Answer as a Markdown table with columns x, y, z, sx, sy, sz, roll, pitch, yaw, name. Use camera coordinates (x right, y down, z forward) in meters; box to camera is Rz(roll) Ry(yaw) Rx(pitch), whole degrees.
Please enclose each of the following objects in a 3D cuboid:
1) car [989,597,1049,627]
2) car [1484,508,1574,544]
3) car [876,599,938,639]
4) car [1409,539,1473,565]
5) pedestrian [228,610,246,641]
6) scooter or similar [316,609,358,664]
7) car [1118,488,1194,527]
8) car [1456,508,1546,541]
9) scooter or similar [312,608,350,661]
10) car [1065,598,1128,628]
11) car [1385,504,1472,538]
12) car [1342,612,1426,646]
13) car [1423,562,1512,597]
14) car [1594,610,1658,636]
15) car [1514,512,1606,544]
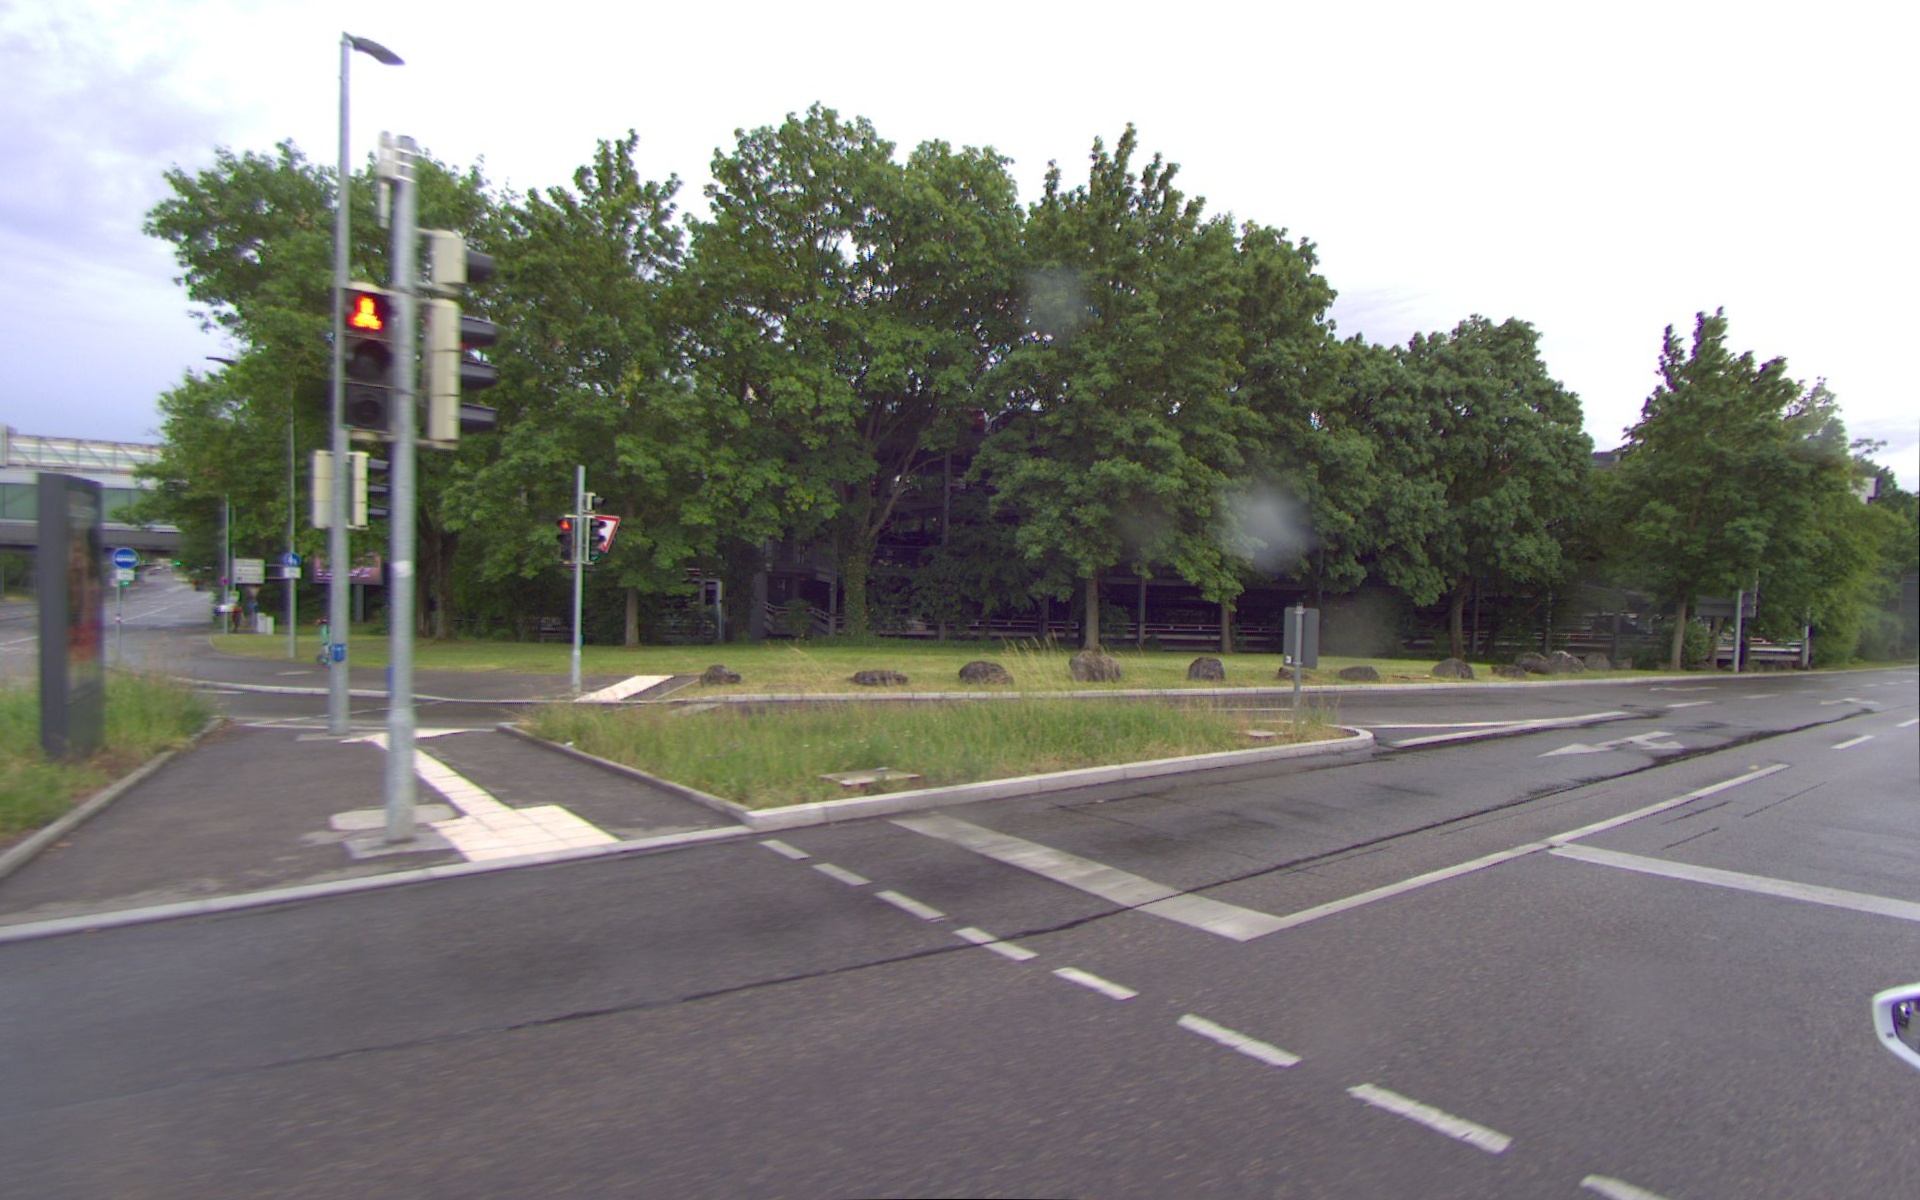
| x | y | z | sx | sy | sz | roll | pitch | yaw | name |
| --- | --- | --- | --- | --- | --- | --- | --- | --- | --- |
| 3.289 | 0.640 | 56.361 | 1.969 | 1.539 | 3.983 | 2 | 0 | -19 | car |
| 30.098 | -3.892 | 53.227 | 1.965 | 1.539 | 3.990 | 2 | 0 | -12 | car |
| -2.318 | 0.772 | 43.095 | 1.966 | 1.539 | 3.990 | 2 | 0 | -13 | car |
| 34.201 | -3.388 | 71.474 | 1.967 | 1.539 | 3.988 | 2 | 0 | -15 | car |
| -38.961 | 1.393 | 54.121 | 0.736 | 1.651 | 0.706 | 1 | -1 | -36 | pedestrian |
| -14.832 | 0.860 | 23.904 | 1.338 | 1.276 | 0.546 | 0 | -1 | 44 | scooter or similar |
| 8.948 | -4.220 | 46.206 | 1.965 | 1.539 | 3.989 | 2 | 3 | -12 | car |
| 28.167 | -3.927 | 52.431 | 1.965 | 1.539 | 3.989 | 2 | 3 | -12 | car |
| -15.705 | 0.848 | 25.067 | 1.209 | 1.276 | 0.514 | 0 | -1 | 44 | scooter or similar |
| 7.743 | 0.712 | 57.306 | 1.969 | 1.539 | 3.983 | 2 | 0 | -19 | car |
| 23.764 | -4.001 | 51.120 | 1.965 | 1.539 | 3.989 | 2 | 3 | -12 | car |
| 21.598 | 1.467 | 51.313 | 1.965 | 1.539 | 3.990 | 2 | 0 | -12 | car |
| 26.042 | -1.099 | 51.694 | 1.965 | 1.539 | 3.989 | 2 | 3 | -12 | car |
| 46.053 | 1.579 | 69.510 | 1.561 | 1.539 | 3.459 | 2 | 1 | -19 | car |
| 32.061 | -3.851 | 53.771 | 1.965 | 1.539 | 3.989 | 2 | 3 | -12 | car |
